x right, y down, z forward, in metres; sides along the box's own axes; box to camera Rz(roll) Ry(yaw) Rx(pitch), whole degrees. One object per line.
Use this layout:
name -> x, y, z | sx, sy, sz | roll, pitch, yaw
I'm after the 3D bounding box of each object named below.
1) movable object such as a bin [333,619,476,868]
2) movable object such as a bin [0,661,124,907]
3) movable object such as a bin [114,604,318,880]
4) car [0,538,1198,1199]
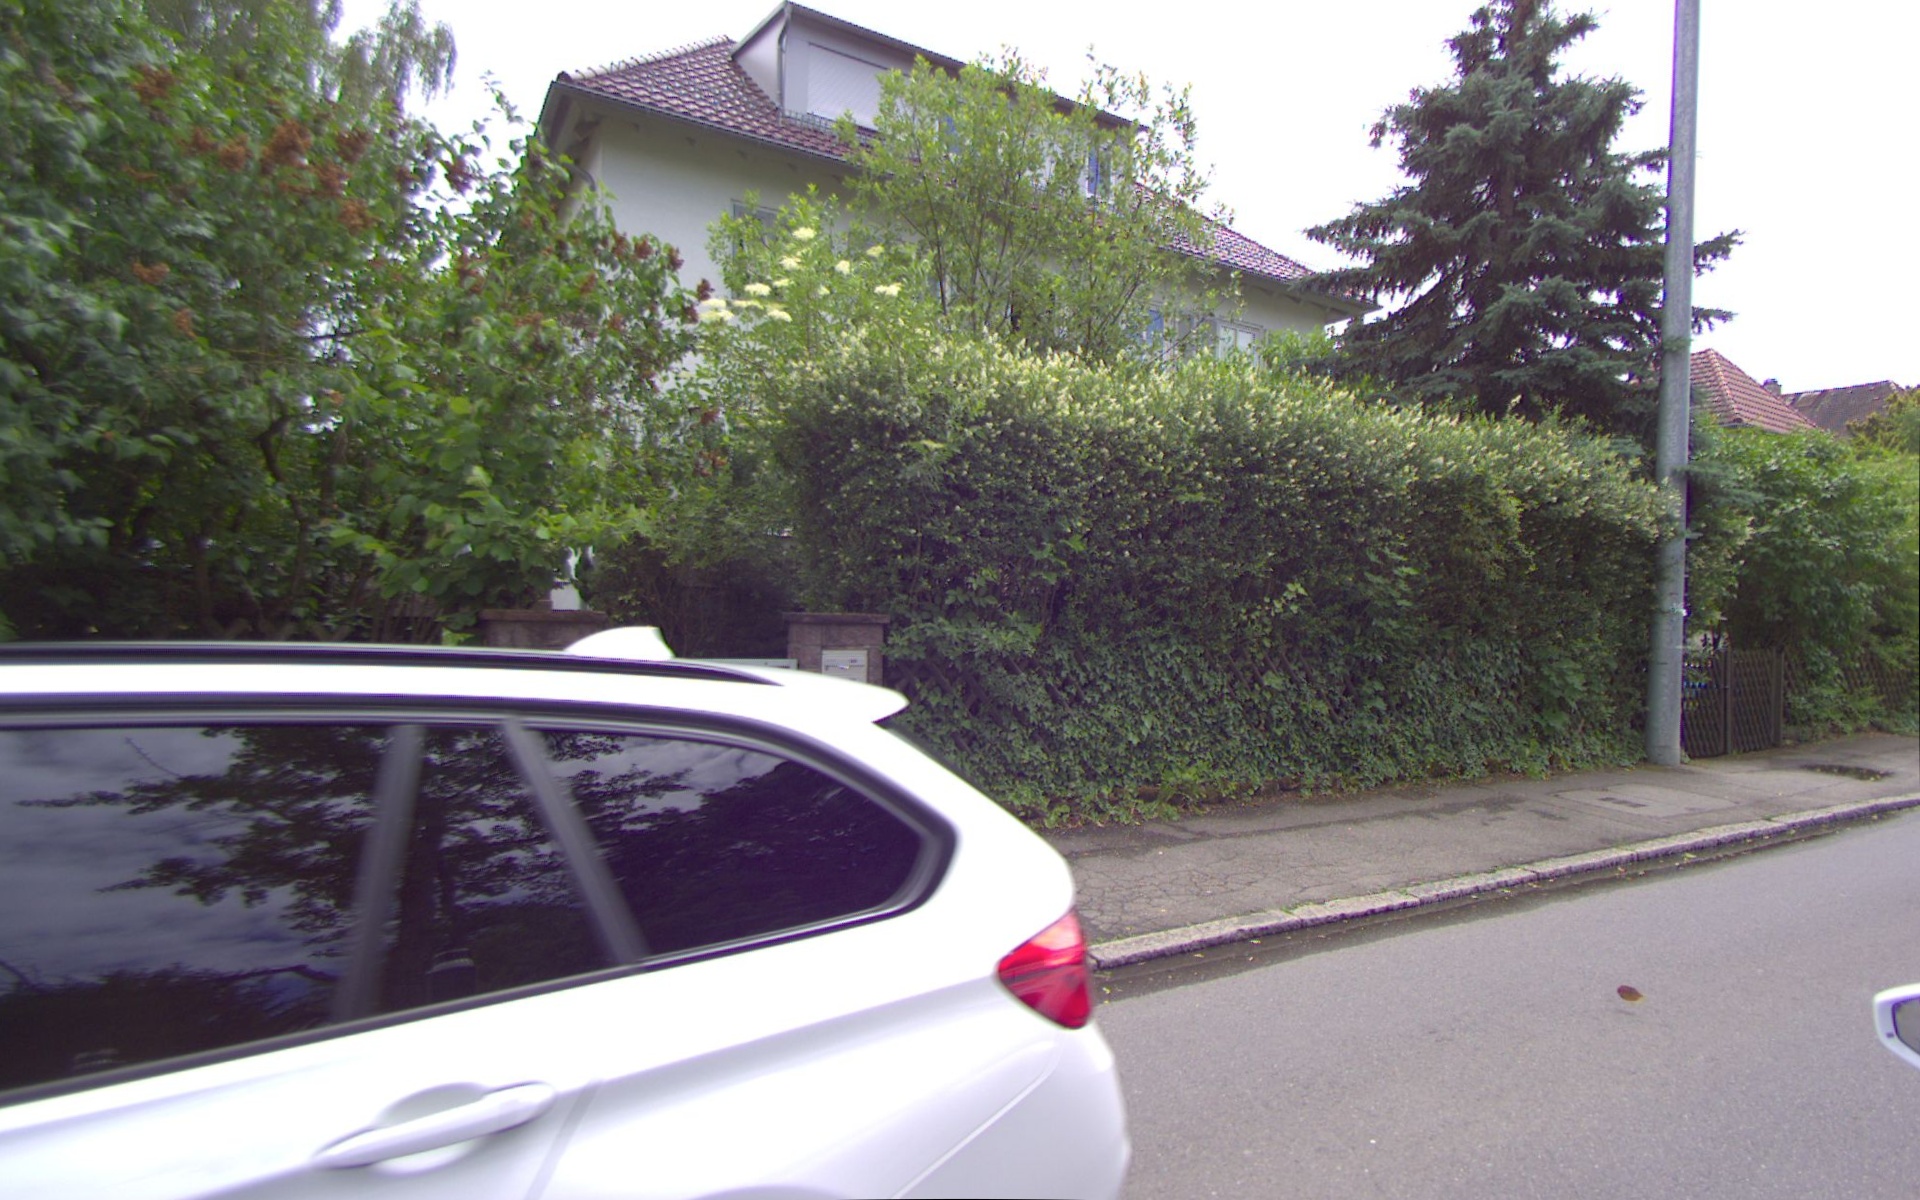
movable object such as a bin -> -2.916, 0.700, 5.248 | 0.579, 1.132, 0.723 | 2, 3, -33
movable object such as a bin -> -3.947, 0.766, 4.298 | 0.507, 0.964, 0.376 | 2, 3, -33
movable object such as a bin -> -3.517, 0.624, 4.815 | 0.715, 1.141, 0.723 | 2, 3, -33
car -> -1.837, 0.676, 1.448 | 4.253, 1.450, 1.796 | 2, -3, -32
